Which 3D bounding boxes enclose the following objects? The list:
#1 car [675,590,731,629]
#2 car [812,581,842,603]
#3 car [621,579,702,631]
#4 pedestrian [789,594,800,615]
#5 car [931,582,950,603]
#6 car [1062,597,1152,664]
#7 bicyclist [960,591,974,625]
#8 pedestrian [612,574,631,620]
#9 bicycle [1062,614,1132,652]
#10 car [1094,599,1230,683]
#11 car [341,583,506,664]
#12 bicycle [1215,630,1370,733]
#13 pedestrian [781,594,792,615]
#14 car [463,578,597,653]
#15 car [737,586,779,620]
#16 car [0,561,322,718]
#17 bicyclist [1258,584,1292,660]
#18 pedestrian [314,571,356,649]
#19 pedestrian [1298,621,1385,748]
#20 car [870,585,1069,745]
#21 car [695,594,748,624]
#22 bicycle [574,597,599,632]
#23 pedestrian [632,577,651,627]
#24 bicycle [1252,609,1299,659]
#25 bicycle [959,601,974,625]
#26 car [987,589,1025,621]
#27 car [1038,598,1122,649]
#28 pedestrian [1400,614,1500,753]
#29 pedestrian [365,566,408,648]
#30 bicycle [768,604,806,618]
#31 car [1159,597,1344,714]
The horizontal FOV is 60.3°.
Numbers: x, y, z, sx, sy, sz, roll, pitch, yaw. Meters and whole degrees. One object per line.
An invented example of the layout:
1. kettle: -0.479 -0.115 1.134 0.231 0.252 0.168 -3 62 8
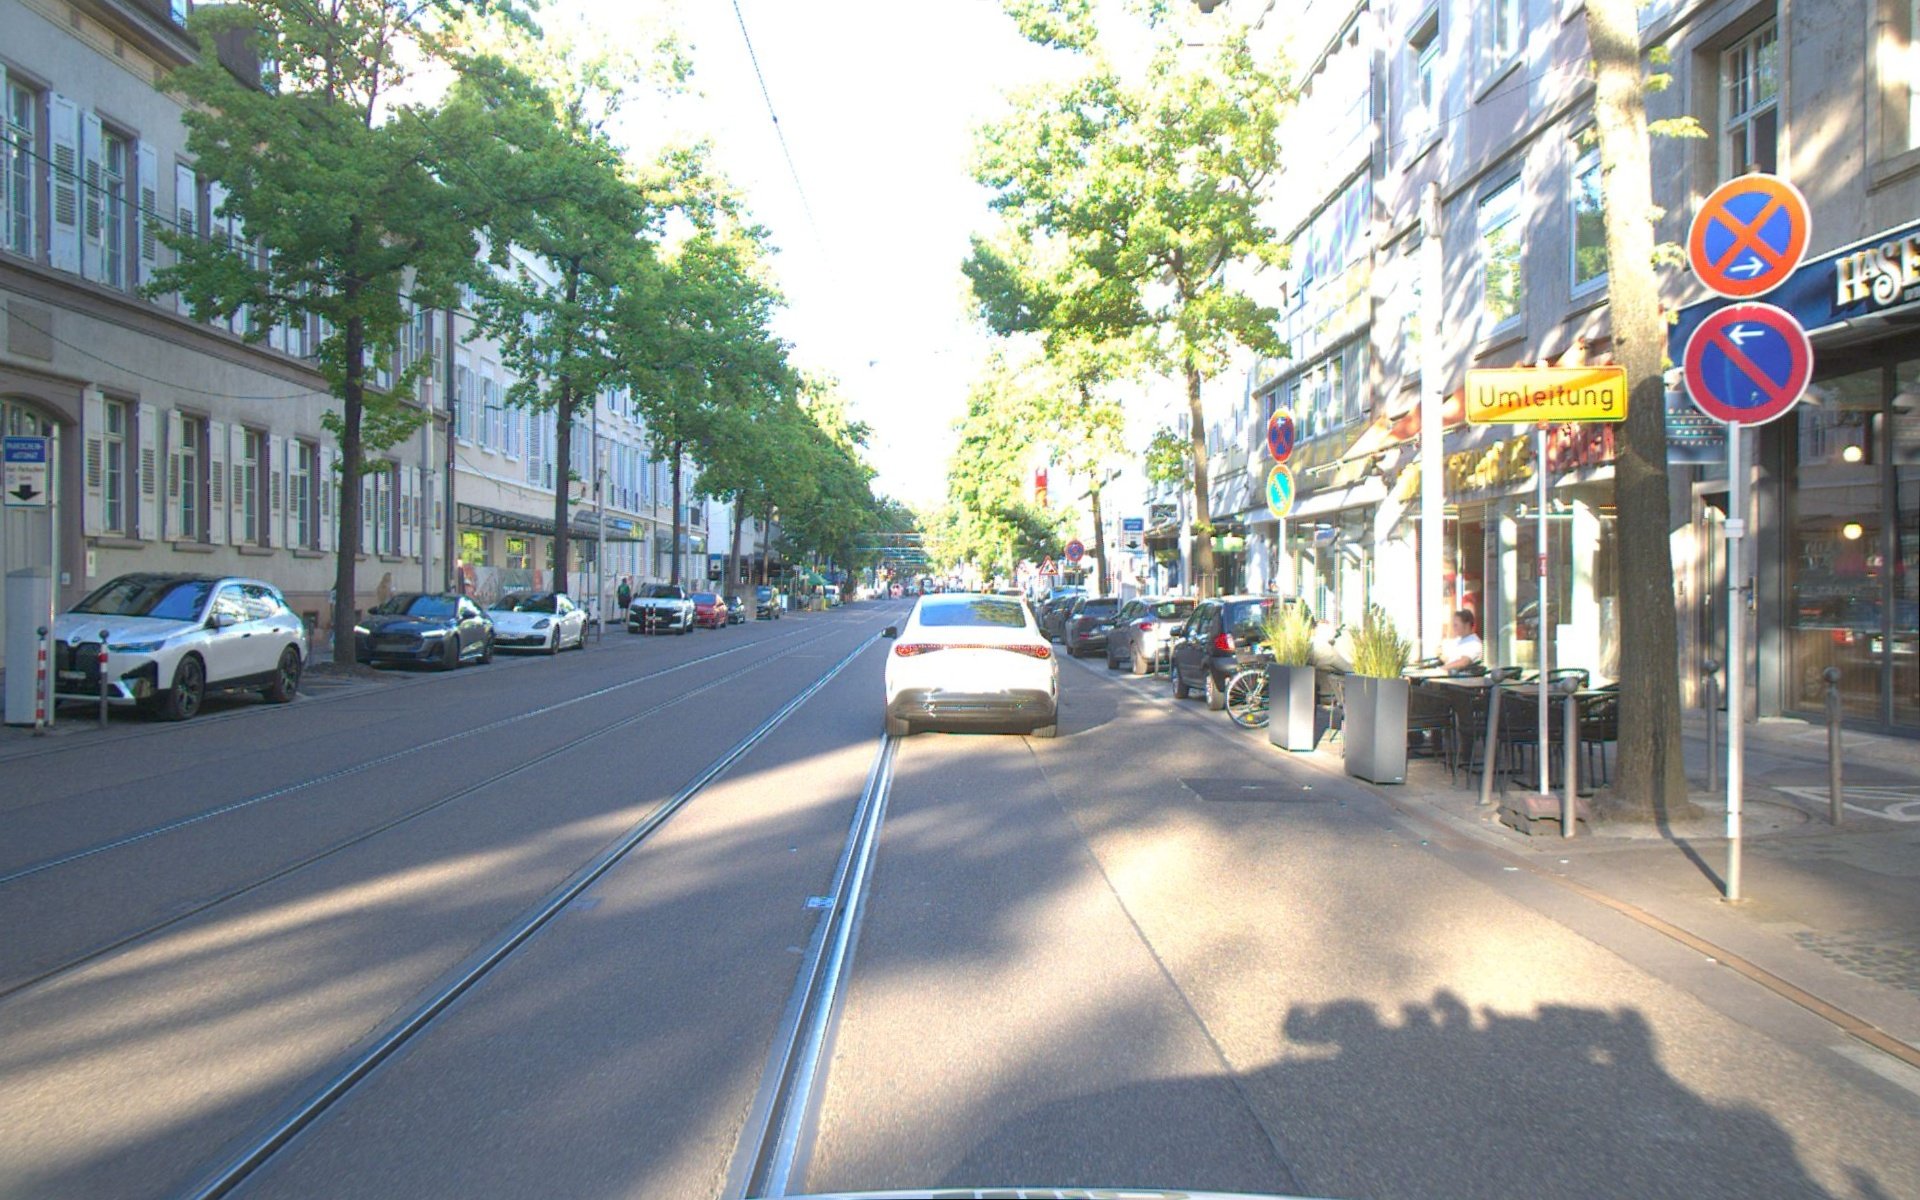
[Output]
1. car: -10.675 0.401 68.952 1.654 1.525 4.234 1 0 0
2. car: -12.311 -0.735 153.427 1.951 2.049 4.003 1 0 7
3. car: -10.551 0.190 58.804 1.921 1.721 5.013 1 0 0
4. pedestrian: -12.187 0.346 121.660 0.511 1.504 0.644 -2 -1 -28
5. car: -2.356 -0.908 202.637 1.955 2.586 3.995 1 -1 -6
6. car: 3.518 0.703 40.212 1.832 1.478 4.106 -2 0 1
7. bicyclist: 0.351 0.407 84.553 0.710 1.732 0.811 1 0 0
8. pedestrian: -13.779 -0.129 67.352 0.694 1.838 0.674 1 0 -6
9. bicycle: 3.633 0.882 43.894 1.856 0.981 0.332 1 0 4
10. car: 3.896 0.768 32.456 1.779 1.512 3.995 1 0 -6
11. car: -10.471 0.434 32.652 1.923 1.437 4.843 1 0 -4
12. bicycle: 3.855 0.942 19.180 1.690 1.158 0.547 -1 -1 20
13. pedestrian: -12.596 0.338 120.294 0.557 1.489 0.650 1 0 18
14. car: -10.456 0.364 40.606 1.907 1.668 4.909 2 0 0
15. car: -11.033 0.156 90.603 1.519 1.827 3.170 1 0 7
16. car: -10.161 0.456 21.333 1.922 1.668 4.811 4 0 -1
17. bicyclist: 7.160 0.502 37.603 0.626 1.713 0.599 0 0 -3
18. pedestrian: -13.769 0.216 36.450 0.661 1.709 0.647 1 0 -1
19. pedestrian: 3.970 0.867 17.241 0.800 1.287 0.586 1 0 4
20. car: -0.008 0.681 18.226 1.831 1.495 4.038 2 -1 -4
21. car: -11.184 0.414 77.807 1.953 1.315 3.999 1 0 -1
22. bicycle: -11.787 0.457 52.262 0.582 1.068 2.005 1 0 -8
23. pedestrian: -12.972 0.079 67.376 0.694 2.039 0.674 1 0 -7
24. bicycle: 7.160 0.763 37.563 0.634 1.093 1.860 0 0 -3
25. bicycle: 0.337 0.676 84.620 0.725 1.209 2.160 0 0 0
26. car: 2.613 0.262 94.775 1.953 1.758 4.240 0 0 -1
27. car: 3.617 0.697 50.504 1.802 1.461 3.994 1 0 -7
28. pedestrian: 5.153 0.858 17.389 0.702 1.411 0.737 1 0 -39
29. pedestrian: -12.543 0.146 36.207 0.672 1.751 0.656 2 0 -1
30. bicycle: -10.473 0.662 100.130 2.206 0.845 0.717 1 0 21
31. car: 4.009 0.723 23.317 1.764 1.484 3.652 -1 0 -3
